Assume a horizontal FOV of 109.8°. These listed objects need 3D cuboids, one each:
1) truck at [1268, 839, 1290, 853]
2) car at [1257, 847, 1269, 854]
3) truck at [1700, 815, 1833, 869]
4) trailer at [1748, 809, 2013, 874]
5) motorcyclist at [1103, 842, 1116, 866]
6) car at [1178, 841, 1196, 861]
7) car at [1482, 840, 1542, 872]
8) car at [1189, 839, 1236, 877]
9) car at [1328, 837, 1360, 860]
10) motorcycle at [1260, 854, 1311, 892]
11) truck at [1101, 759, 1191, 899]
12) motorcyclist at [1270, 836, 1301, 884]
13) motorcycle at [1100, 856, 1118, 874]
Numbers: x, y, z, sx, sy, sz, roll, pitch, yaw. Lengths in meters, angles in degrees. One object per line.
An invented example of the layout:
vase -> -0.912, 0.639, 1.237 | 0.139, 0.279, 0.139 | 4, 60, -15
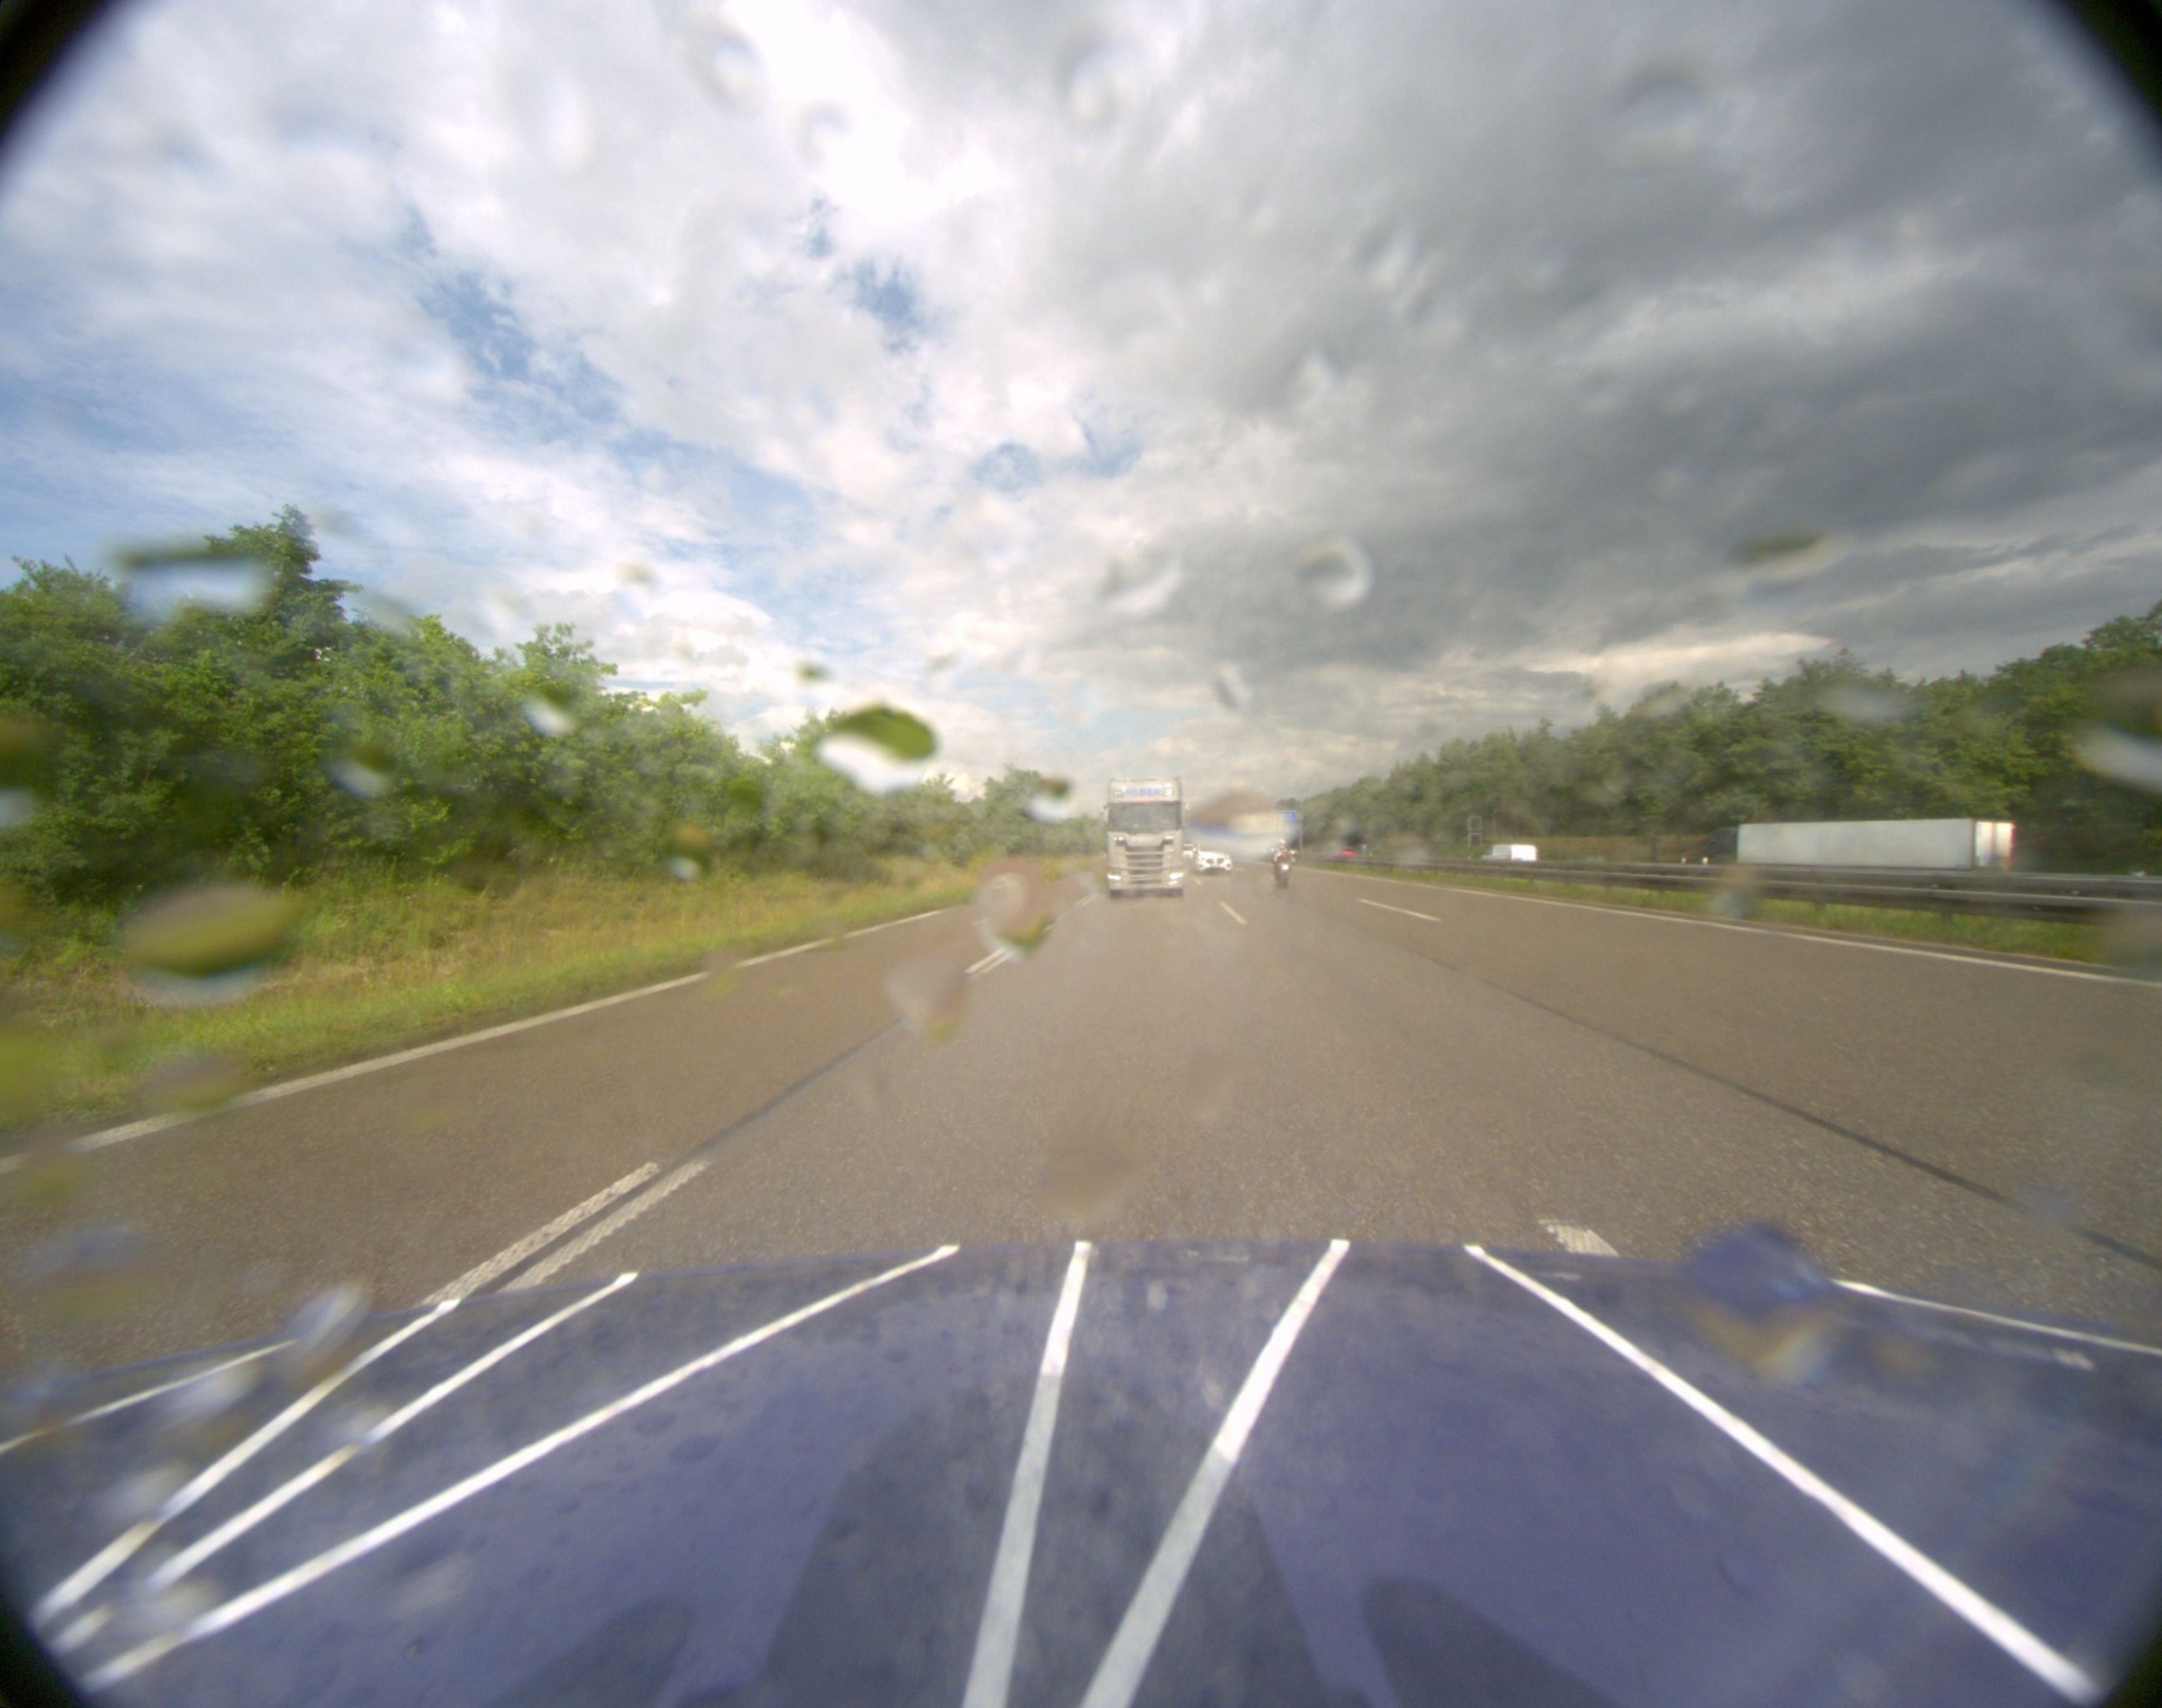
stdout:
truck -> 28.553, -1.181, 109.480 | 2.261, 1.884, 5.448 | -2, 1, 6
car -> 42.031, -0.809, 175.457 | 1.977, 1.384, 5.160 | -2, 1, 6
truck -> 50.911, -0.921, 56.752 | 3.217, 3.684, 6.910 | -2, 1, -8
trailer -> 51.805, -0.812, 50.229 | 3.214, 3.717, 12.559 | 0, 1, -7
motorcyclist -> 2.075, 0.016, 54.730 | 0.883, 1.696, 1.001 | -2, 2, 4
car -> 11.707, -0.386, 84.091 | 1.834, 2.033, 4.780 | -2, 1, 6
car -> 29.714, 0.071, 52.523 | 1.834, 2.033, 4.780 | -2, 1, 6
car -> 7.556, 0.190, 44.231 | 2.349, 2.033, 5.144 | -2, 1, 6
car -> 24.743, -0.513, 71.622 | 1.834, 2.033, 4.780 | -2, 1, 6
motorcycle -> 7.534, 0.664, 28.164 | 1.187, 1.219, 3.195 | -2, 1, 3
truck -> 2.212, -0.833, 26.855 | 2.649, 4.250, 6.885 | -2, 1, 3
motorcyclist -> 7.479, 0.200, 27.873 | 0.883, 1.696, 1.001 | -2, 2, 4
motorcycle -> 2.008, 0.758, 54.508 | 1.187, 1.142, 3.195 | -2, 1, 3
